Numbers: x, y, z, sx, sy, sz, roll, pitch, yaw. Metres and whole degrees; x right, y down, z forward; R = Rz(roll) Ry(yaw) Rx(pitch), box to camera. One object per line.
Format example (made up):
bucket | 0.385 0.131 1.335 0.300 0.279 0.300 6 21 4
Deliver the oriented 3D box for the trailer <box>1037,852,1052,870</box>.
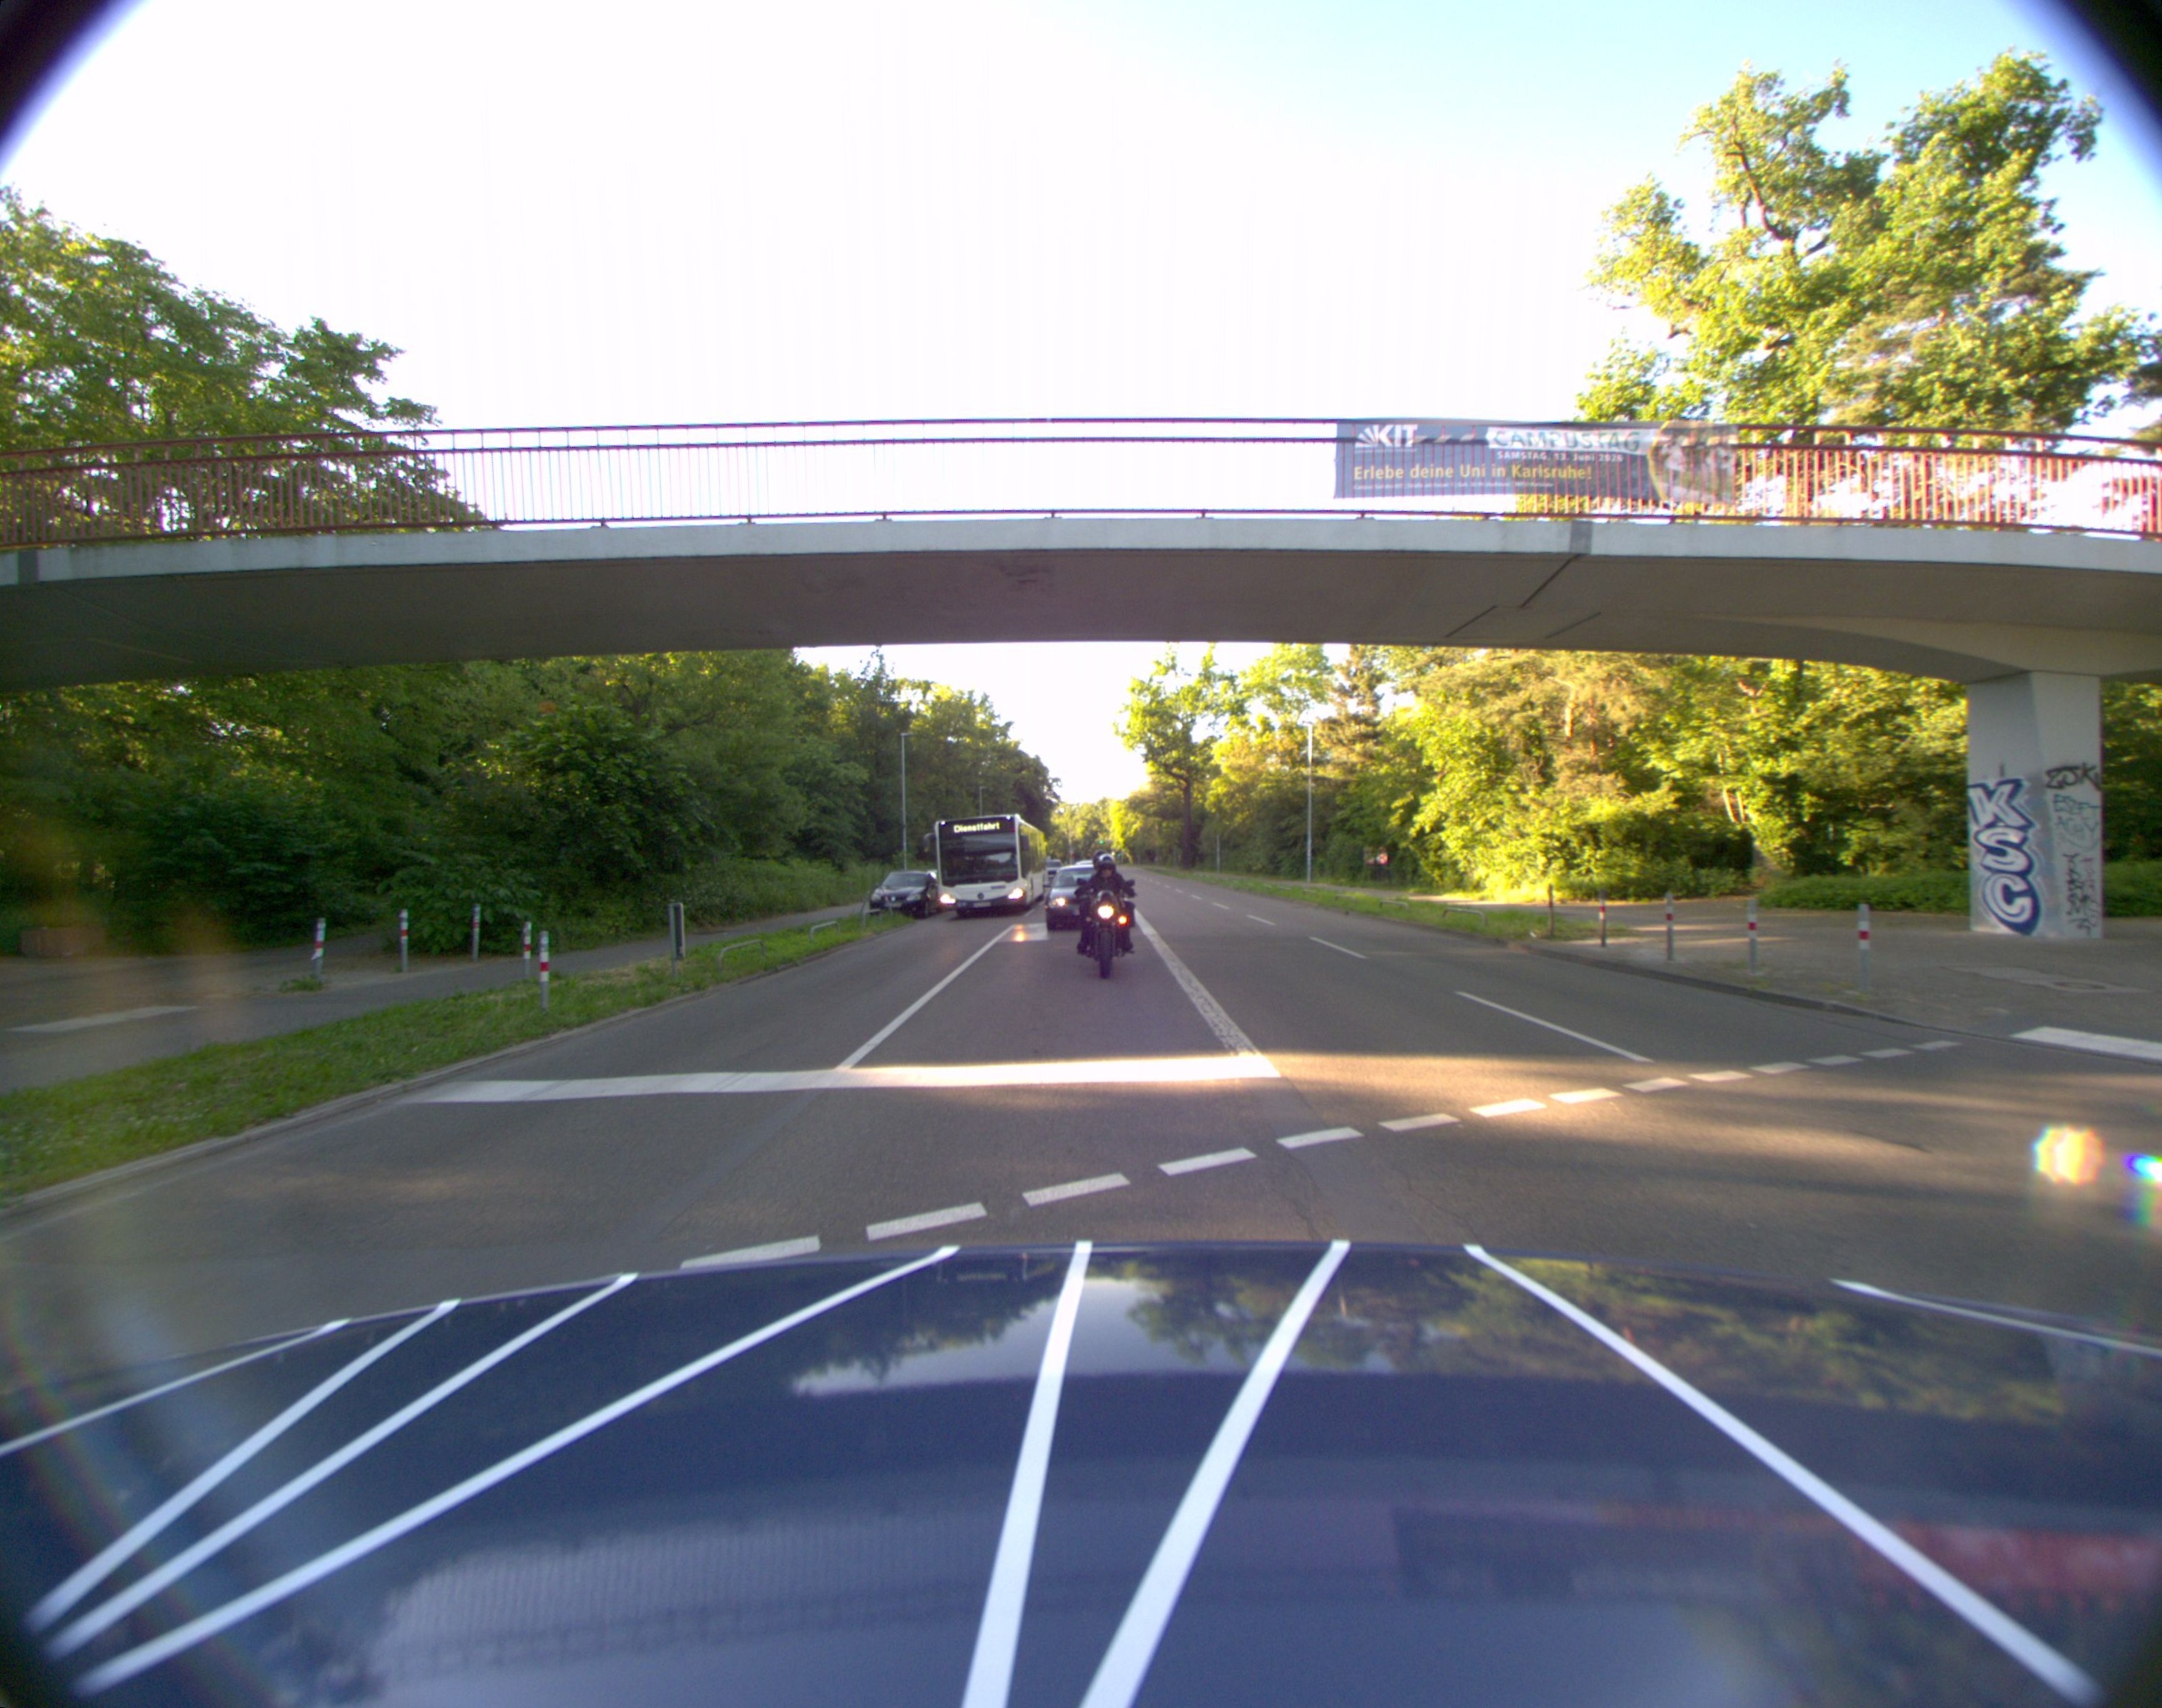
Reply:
trailer | -5.015 0.973 106.141 1.909 2.409 5.125 -1 0 -1

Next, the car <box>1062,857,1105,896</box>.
car | 0.167 0.971 34.177 1.678 1.552 3.995 -3 0 3

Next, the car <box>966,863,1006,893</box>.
car | -5.213 1.271 42.141 1.641 1.445 4.897 -1 0 -1

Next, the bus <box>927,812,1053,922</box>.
bus | -2.824 0.375 28.131 2.812 3.030 12.886 -3 0 1

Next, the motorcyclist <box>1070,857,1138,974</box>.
motorcyclist | 0.305 0.801 10.403 0.830 1.484 1.024 -2 0 1

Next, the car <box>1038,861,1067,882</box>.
car | -2.031 1.229 55.613 1.873 1.398 4.369 -1 0 1

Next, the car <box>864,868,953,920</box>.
car | -5.512 1.227 24.900 1.778 1.445 4.388 -1 0 2

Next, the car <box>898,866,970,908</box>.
car | -5.658 1.242 29.687 1.778 1.445 4.015 -1 0 4

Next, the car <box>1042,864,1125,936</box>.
car | 0.169 0.986 17.869 1.678 1.351 3.995 -3 0 3

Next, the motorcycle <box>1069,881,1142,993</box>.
motorcycle | 0.313 1.040 10.397 0.830 1.211 2.604 -2 0 1
